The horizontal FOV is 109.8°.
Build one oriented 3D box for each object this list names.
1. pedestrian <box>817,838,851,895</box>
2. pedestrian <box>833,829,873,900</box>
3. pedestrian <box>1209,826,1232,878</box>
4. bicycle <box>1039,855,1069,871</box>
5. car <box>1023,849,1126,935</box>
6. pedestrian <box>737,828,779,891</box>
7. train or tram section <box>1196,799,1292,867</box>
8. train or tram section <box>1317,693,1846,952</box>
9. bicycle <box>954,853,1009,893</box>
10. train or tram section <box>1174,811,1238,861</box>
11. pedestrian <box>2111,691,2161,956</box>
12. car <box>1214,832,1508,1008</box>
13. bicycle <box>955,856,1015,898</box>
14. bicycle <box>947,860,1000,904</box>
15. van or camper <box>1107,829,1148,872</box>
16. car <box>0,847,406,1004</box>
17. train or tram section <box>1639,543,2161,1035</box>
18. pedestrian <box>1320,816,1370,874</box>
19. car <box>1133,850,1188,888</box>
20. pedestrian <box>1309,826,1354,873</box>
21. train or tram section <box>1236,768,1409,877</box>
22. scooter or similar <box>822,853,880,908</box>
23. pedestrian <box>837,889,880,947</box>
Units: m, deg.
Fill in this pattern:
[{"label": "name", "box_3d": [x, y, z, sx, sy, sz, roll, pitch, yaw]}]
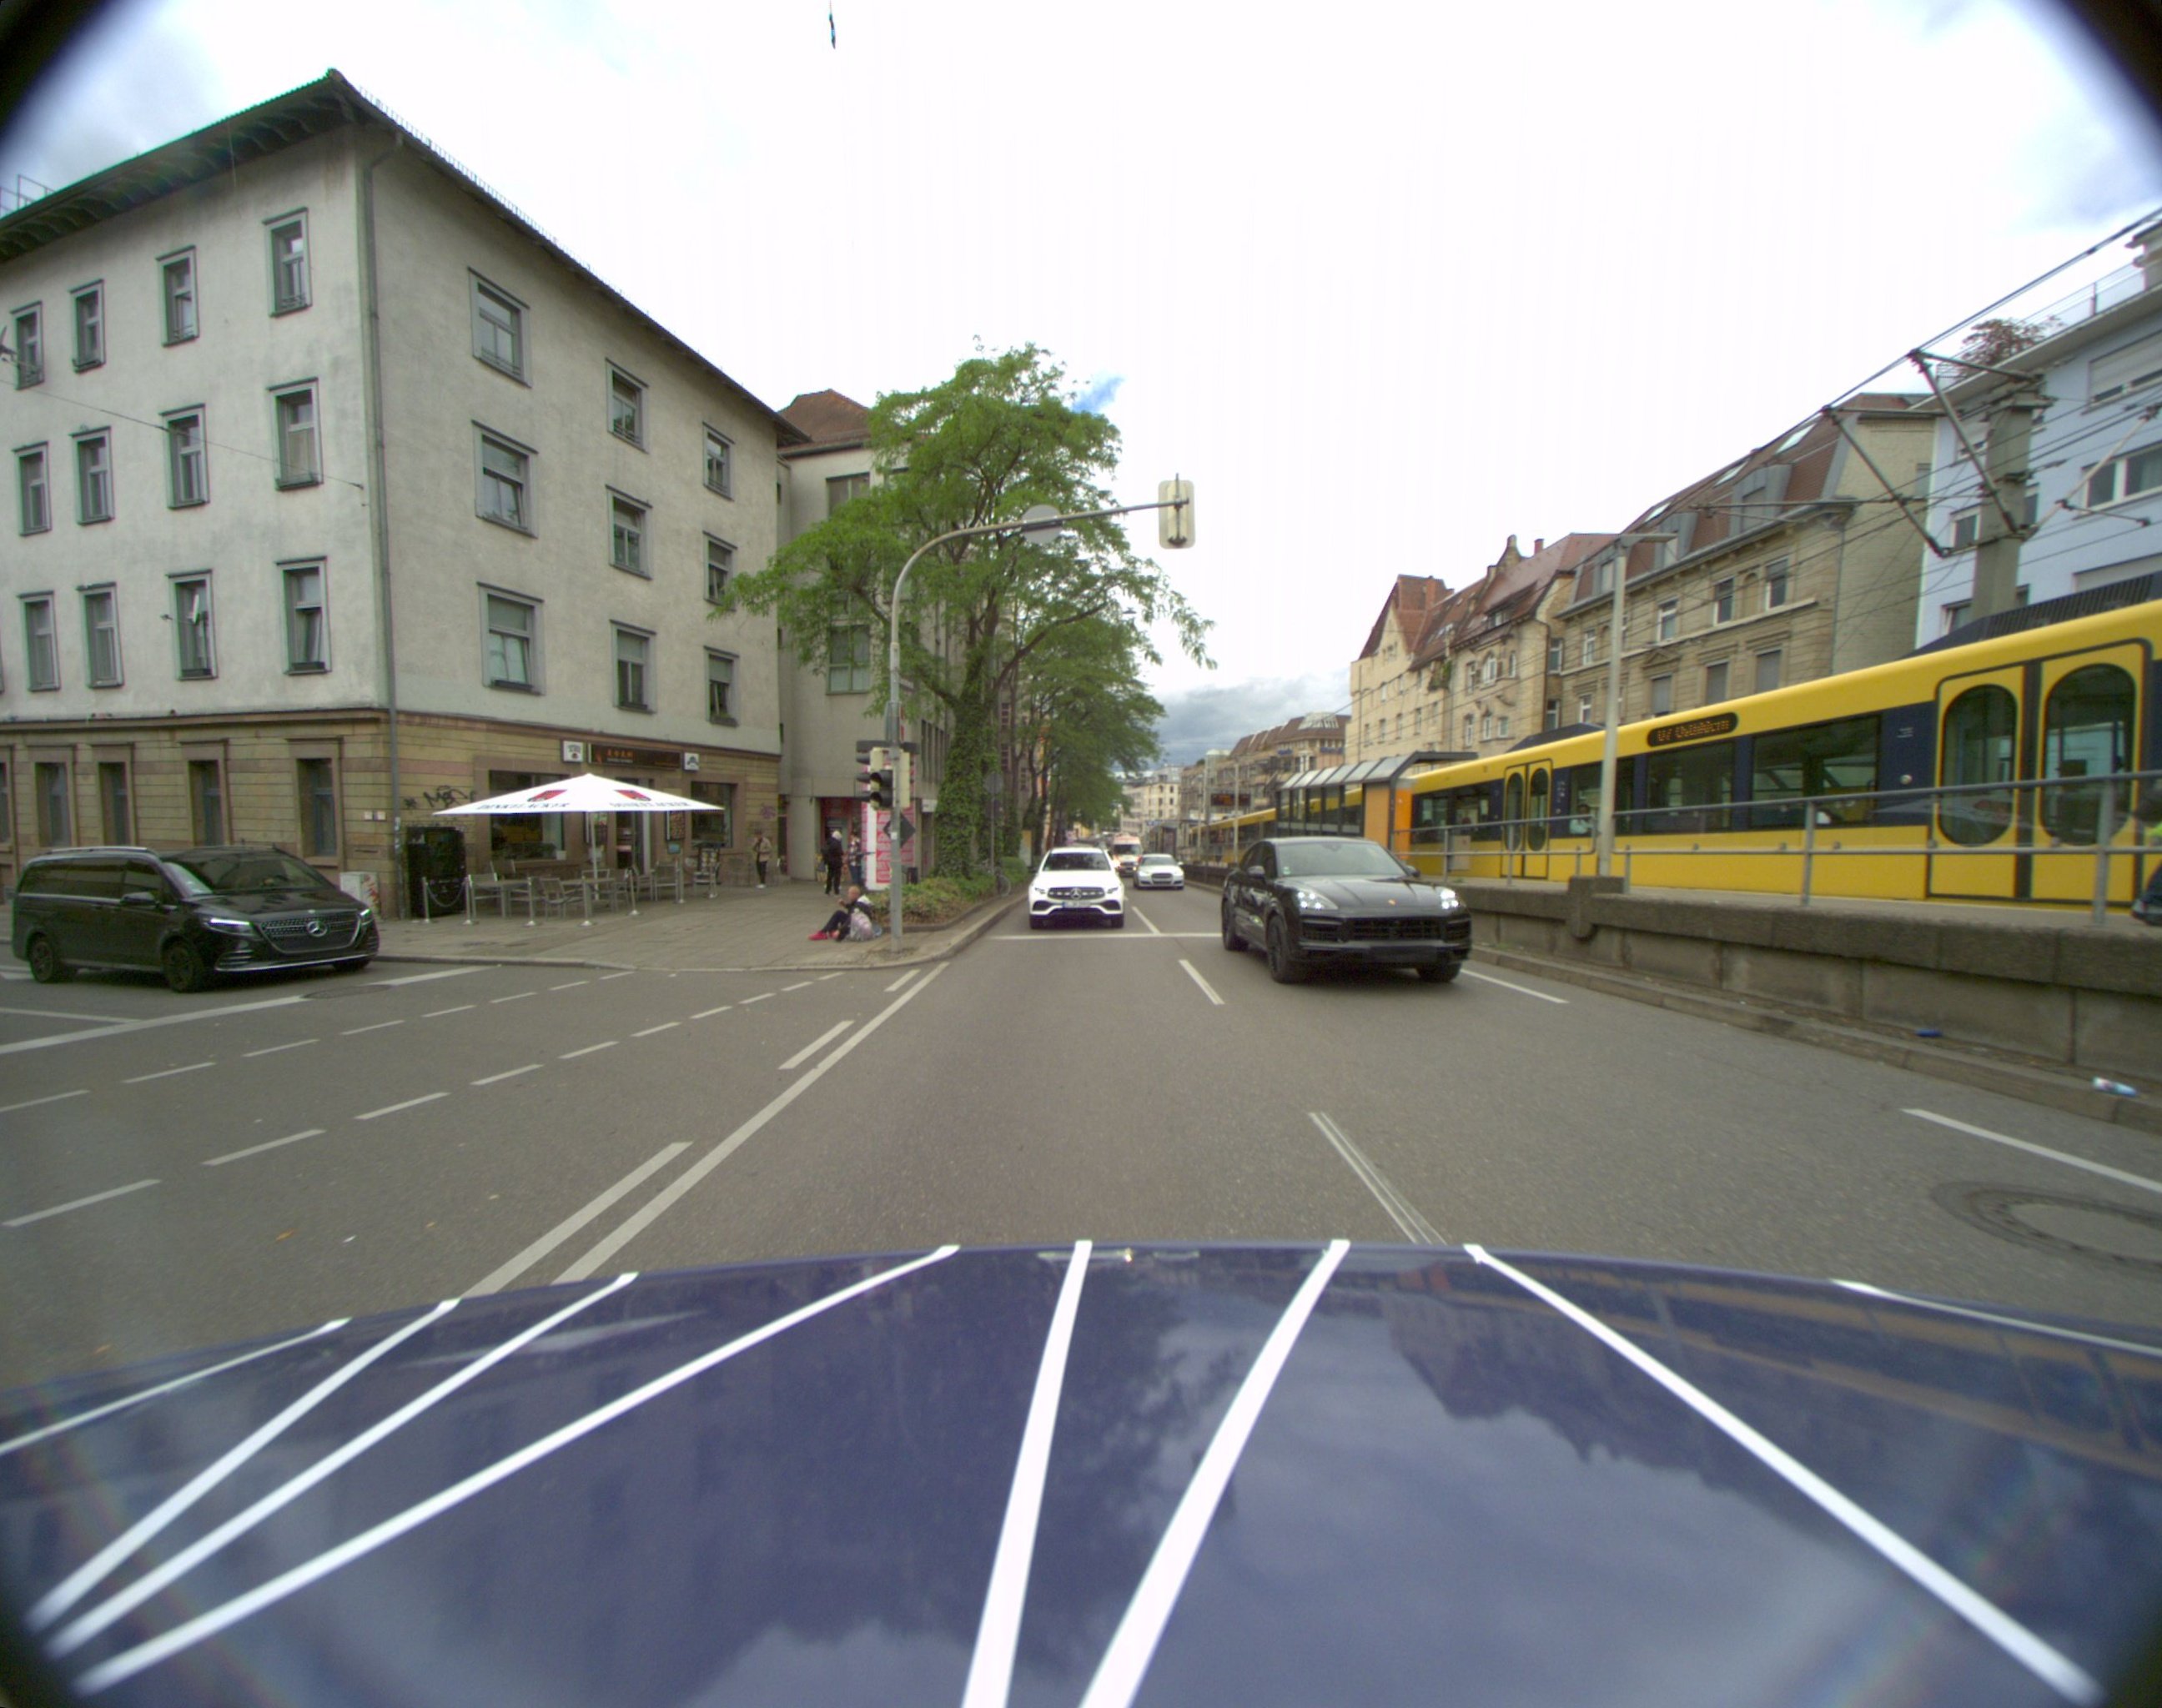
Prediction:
[{"label": "pedestrian", "box_3d": [-6.623, 0.329, 20.381, 0.624, 1.514, 0.664, -1, 1, 6]}, {"label": "pedestrian", "box_3d": [-6.111, 0.275, 20.415, 0.706, 1.879, 0.880, -1, 1, 6]}, {"label": "pedestrian", "box_3d": [6.183, -0.102, 33.655, 0.838, 2.271, 0.772, 1, 1, 1]}, {"label": "bicycle", "box_3d": [-1.990, 0.653, 55.236, 2.093, 1.079, 0.712, -2, 1, -7]}, {"label": "car", "box_3d": [-0.087, 0.703, 16.669, 1.935, 1.622, 4.773, 0, 0, 1]}, {"label": "pedestrian", "box_3d": [-9.672, 0.162, 22.779, 0.901, 1.823, 0.737, 0, 1, 29]}, {"label": "train or tram section", "box_3d": [9.466, -1.119, 46.241, 2.889, 3.421, 14.229, -2, 0, 1]}, {"label": "train or tram section", "box_3d": [9.271, -0.520, 17.833, 2.889, 3.642, 14.227, 0, 1, -1]}, {"label": "bicycle", "box_3d": [-3.105, 0.587, 23.840, 1.692, 1.214, 0.542, 0, 1, -4]}, {"label": "train or tram section", "box_3d": [9.663, -1.302, 60.480, 2.889, 3.399, 14.229, -2, 0, 1]}, {"label": "pedestrian", "box_3d": [6.802, -0.175, 4.371, 0.780, 1.575, 0.665, 1, 1, 1]}, {"label": "car", "box_3d": [3.075, 0.616, 9.620, 2.032, 1.675, 4.781, 0, 0, 1]}, {"label": "bicycle", "box_3d": [-2.892, 0.686, 22.983, 1.745, 1.214, 0.542, 1, 1, -4]}, {"label": "bicycle", "box_3d": [-3.104, 0.805, 22.015, 1.424, 1.214, 0.542, -1, 1, -4]}, {"label": "van or camper", "box_3d": [2.921, -0.233, 48.933, 2.208, 2.543, 6.373, -1, 1, 0]}, {"label": "car", "box_3d": [-12.787, 0.909, 11.053, 5.141, 1.896, 2.002, -1, 2, 17]}, {"label": "train or tram section", "box_3d": [9.457, -0.450, 3.668, 2.889, 3.642, 14.227, 1, 1, -1]}, {"label": "pedestrian", "box_3d": [6.171, -0.211, 17.792, 0.852, 1.298, 0.778, 2, 1, 1]}, {"label": "car", "box_3d": [3.259, 0.563, 31.951, 1.897, 1.466, 4.531, 0, 0, 1]}, {"label": "pedestrian", "box_3d": [6.294, -0.114, 19.129, 0.852, 1.136, 0.778, 2, 1, 1]}, {"label": "train or tram section", "box_3d": [9.348, -1.110, 31.967, 2.930, 3.538, 14.228, 0, 1, 1]}, {"label": "scooter or similar", "box_3d": [-5.606, 0.626, 18.489, 1.387, 1.247, 0.632, 3, 3, 36]}, {"label": "pedestrian", "box_3d": [-3.654, 1.040, 12.501, 0.485, 0.905, 0.583, -1, 1, 4]}]
